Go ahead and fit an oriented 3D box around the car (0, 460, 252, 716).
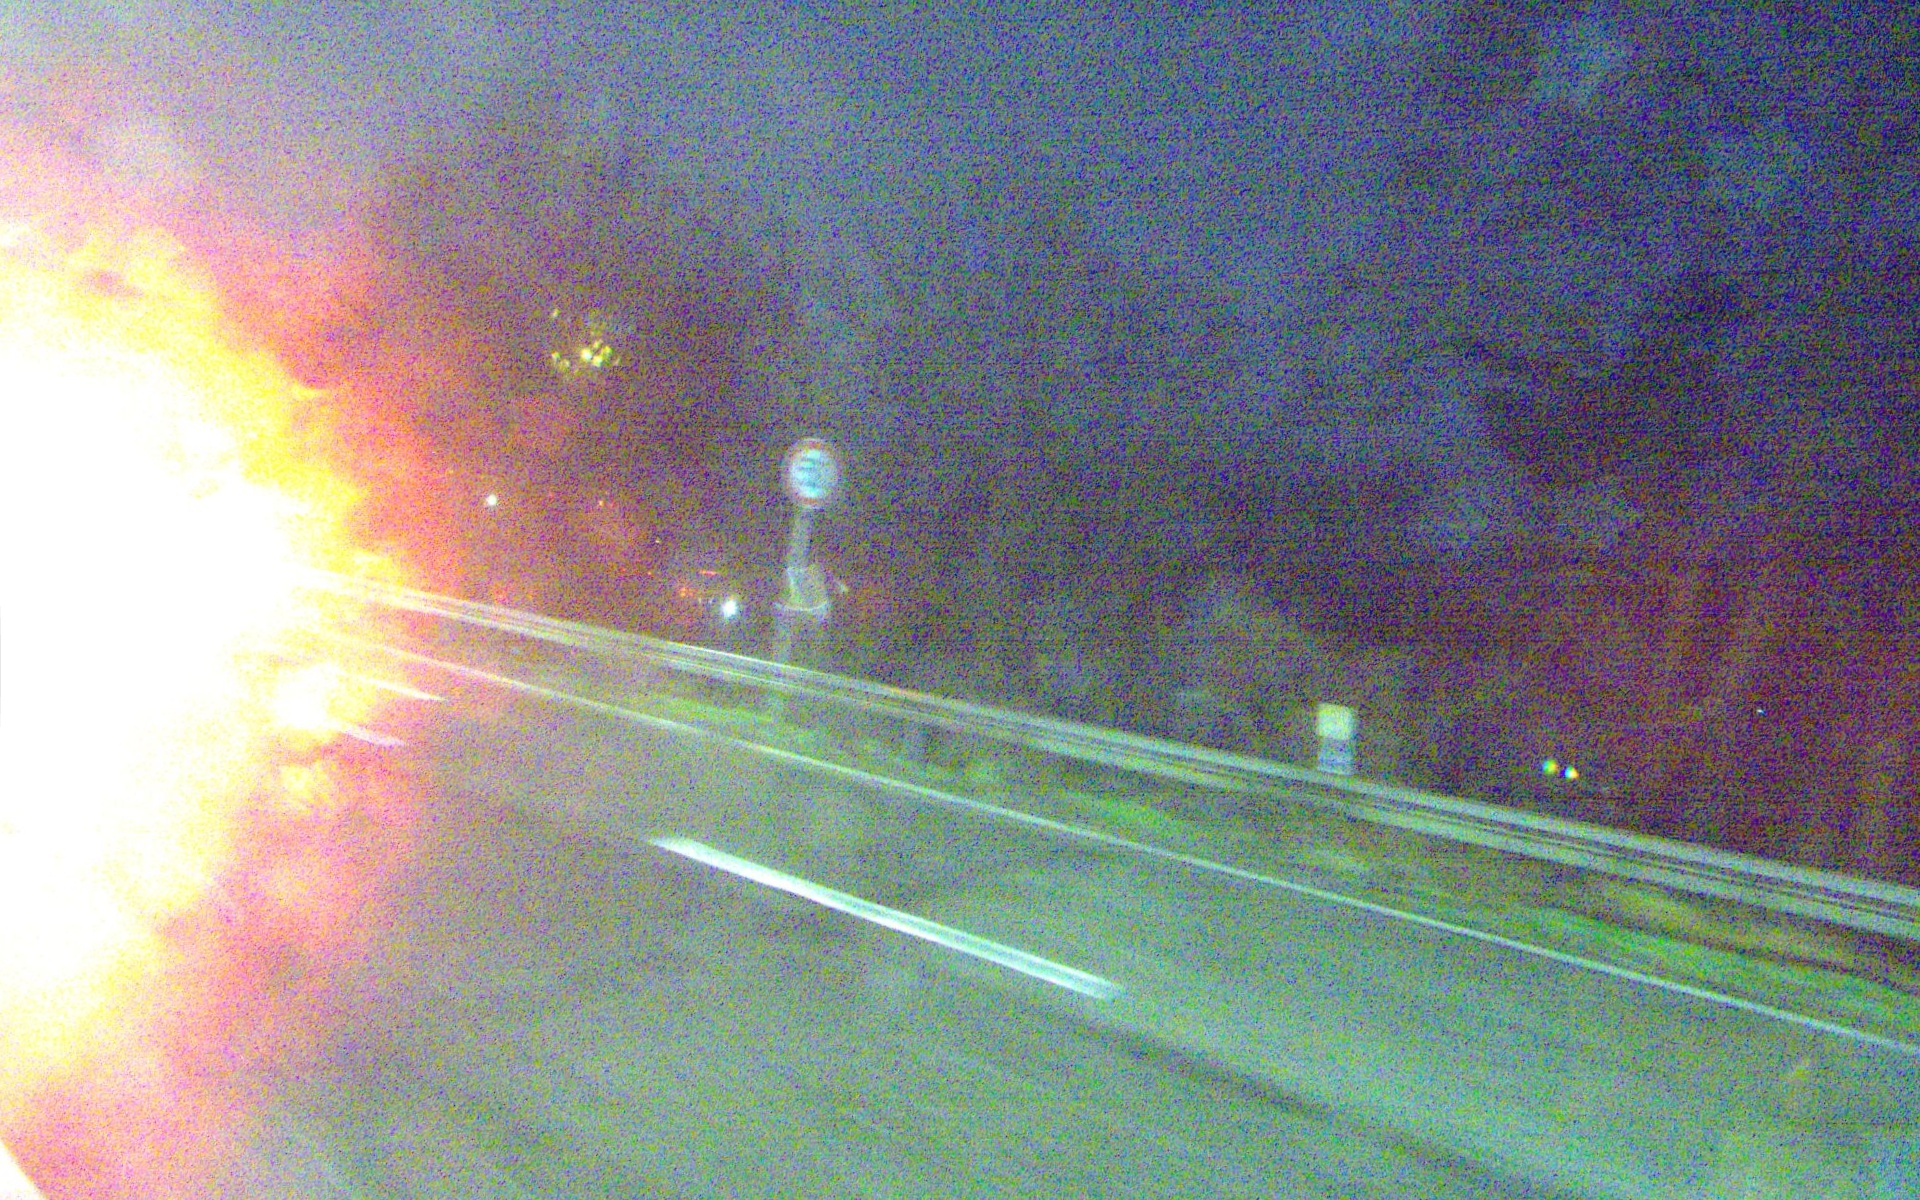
[{"bbox_3d":[-7.345,-0.236,7.534,3.711,1.583,1.744,8,-1,29],"label":"car"}]
